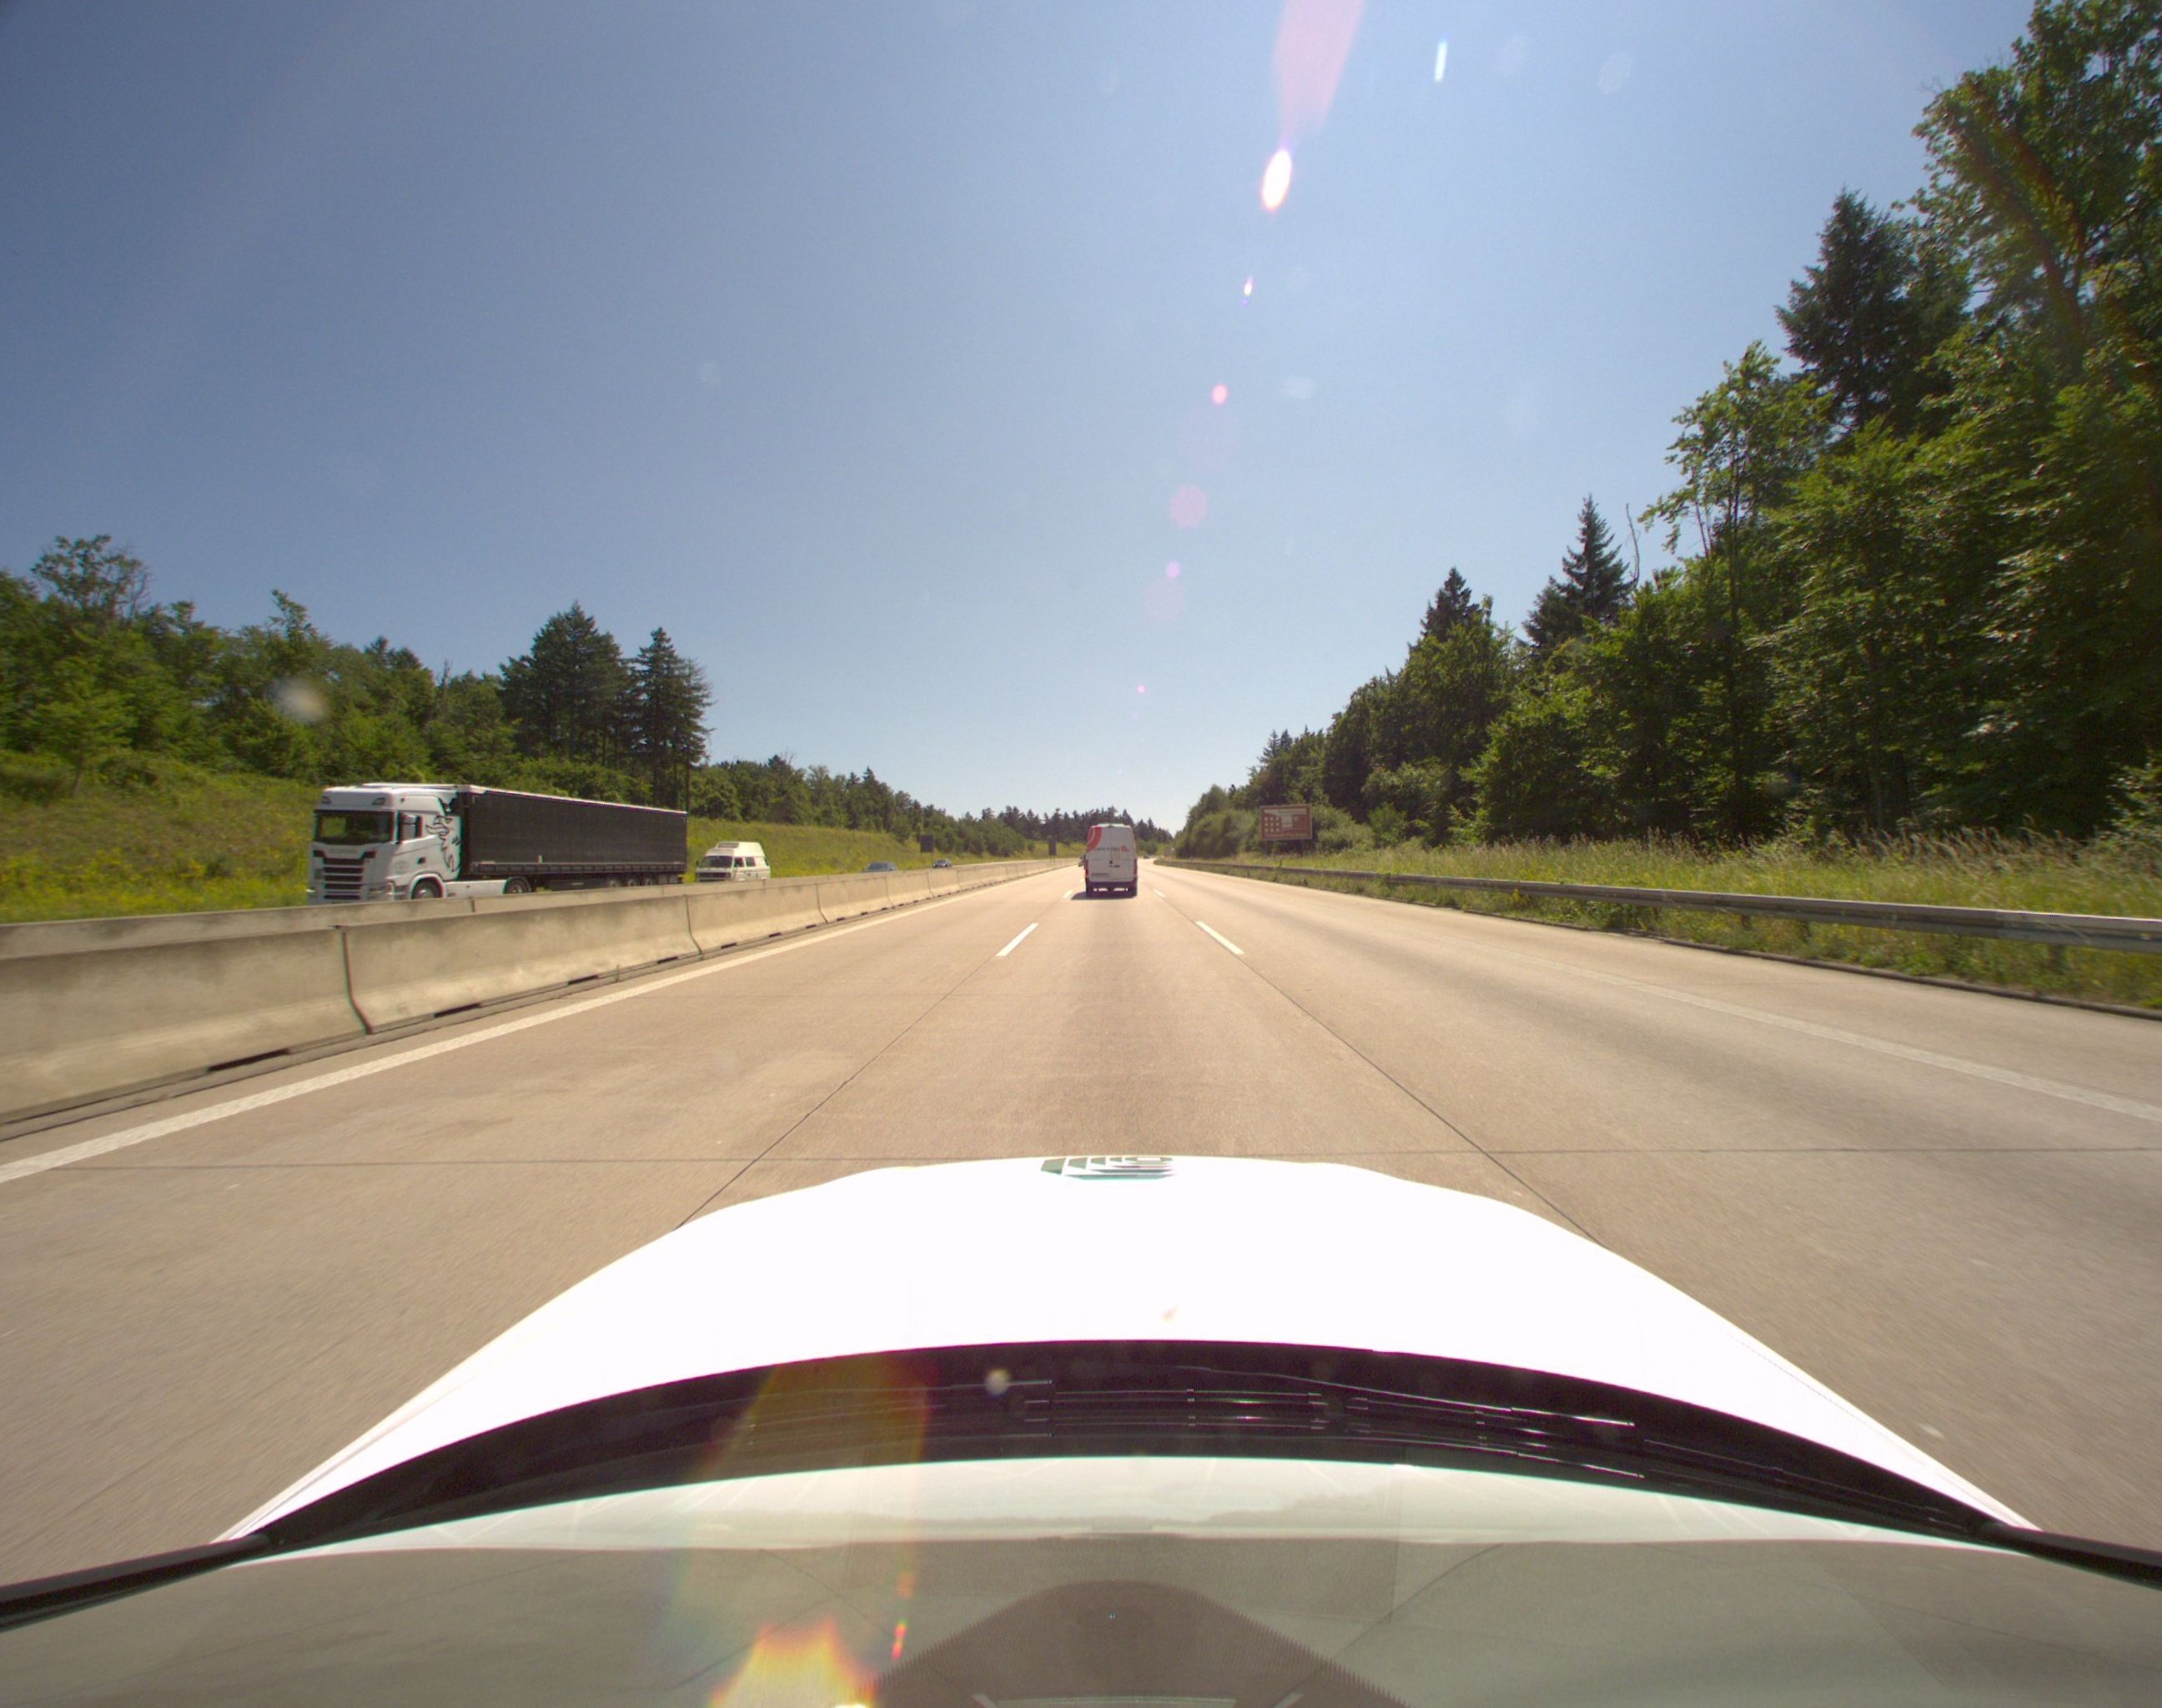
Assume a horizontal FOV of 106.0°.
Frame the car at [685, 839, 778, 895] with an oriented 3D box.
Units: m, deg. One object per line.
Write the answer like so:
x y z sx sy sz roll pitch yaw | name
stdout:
-16.503 0.573 38.791 1.986 2.486 5.182 -1 0 2 | car

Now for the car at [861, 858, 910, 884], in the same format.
-12.576 1.077 52.634 1.986 1.583 4.044 -1 0 2 | car

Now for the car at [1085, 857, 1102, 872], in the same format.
1.505 1.295 99.775 1.986 1.794 4.001 -1 -1 1 | car

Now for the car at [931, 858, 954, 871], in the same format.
-17.766 1.381 104.709 1.986 1.583 4.044 -1 -1 2 | car

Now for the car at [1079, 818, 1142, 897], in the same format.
1.140 0.133 32.036 2.218 2.844 5.456 -1 0 1 | car

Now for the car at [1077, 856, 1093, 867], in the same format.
0.638 1.141 125.933 1.983 1.684 4.006 -1 -1 6 | car

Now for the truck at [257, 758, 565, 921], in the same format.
-21.254 -0.351 26.733 3.244 4.505 7.989 -1 -1 2 | truck

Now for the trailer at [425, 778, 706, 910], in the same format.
-20.922 -0.265 34.824 3.244 4.504 13.126 -1 -1 2 | trailer
